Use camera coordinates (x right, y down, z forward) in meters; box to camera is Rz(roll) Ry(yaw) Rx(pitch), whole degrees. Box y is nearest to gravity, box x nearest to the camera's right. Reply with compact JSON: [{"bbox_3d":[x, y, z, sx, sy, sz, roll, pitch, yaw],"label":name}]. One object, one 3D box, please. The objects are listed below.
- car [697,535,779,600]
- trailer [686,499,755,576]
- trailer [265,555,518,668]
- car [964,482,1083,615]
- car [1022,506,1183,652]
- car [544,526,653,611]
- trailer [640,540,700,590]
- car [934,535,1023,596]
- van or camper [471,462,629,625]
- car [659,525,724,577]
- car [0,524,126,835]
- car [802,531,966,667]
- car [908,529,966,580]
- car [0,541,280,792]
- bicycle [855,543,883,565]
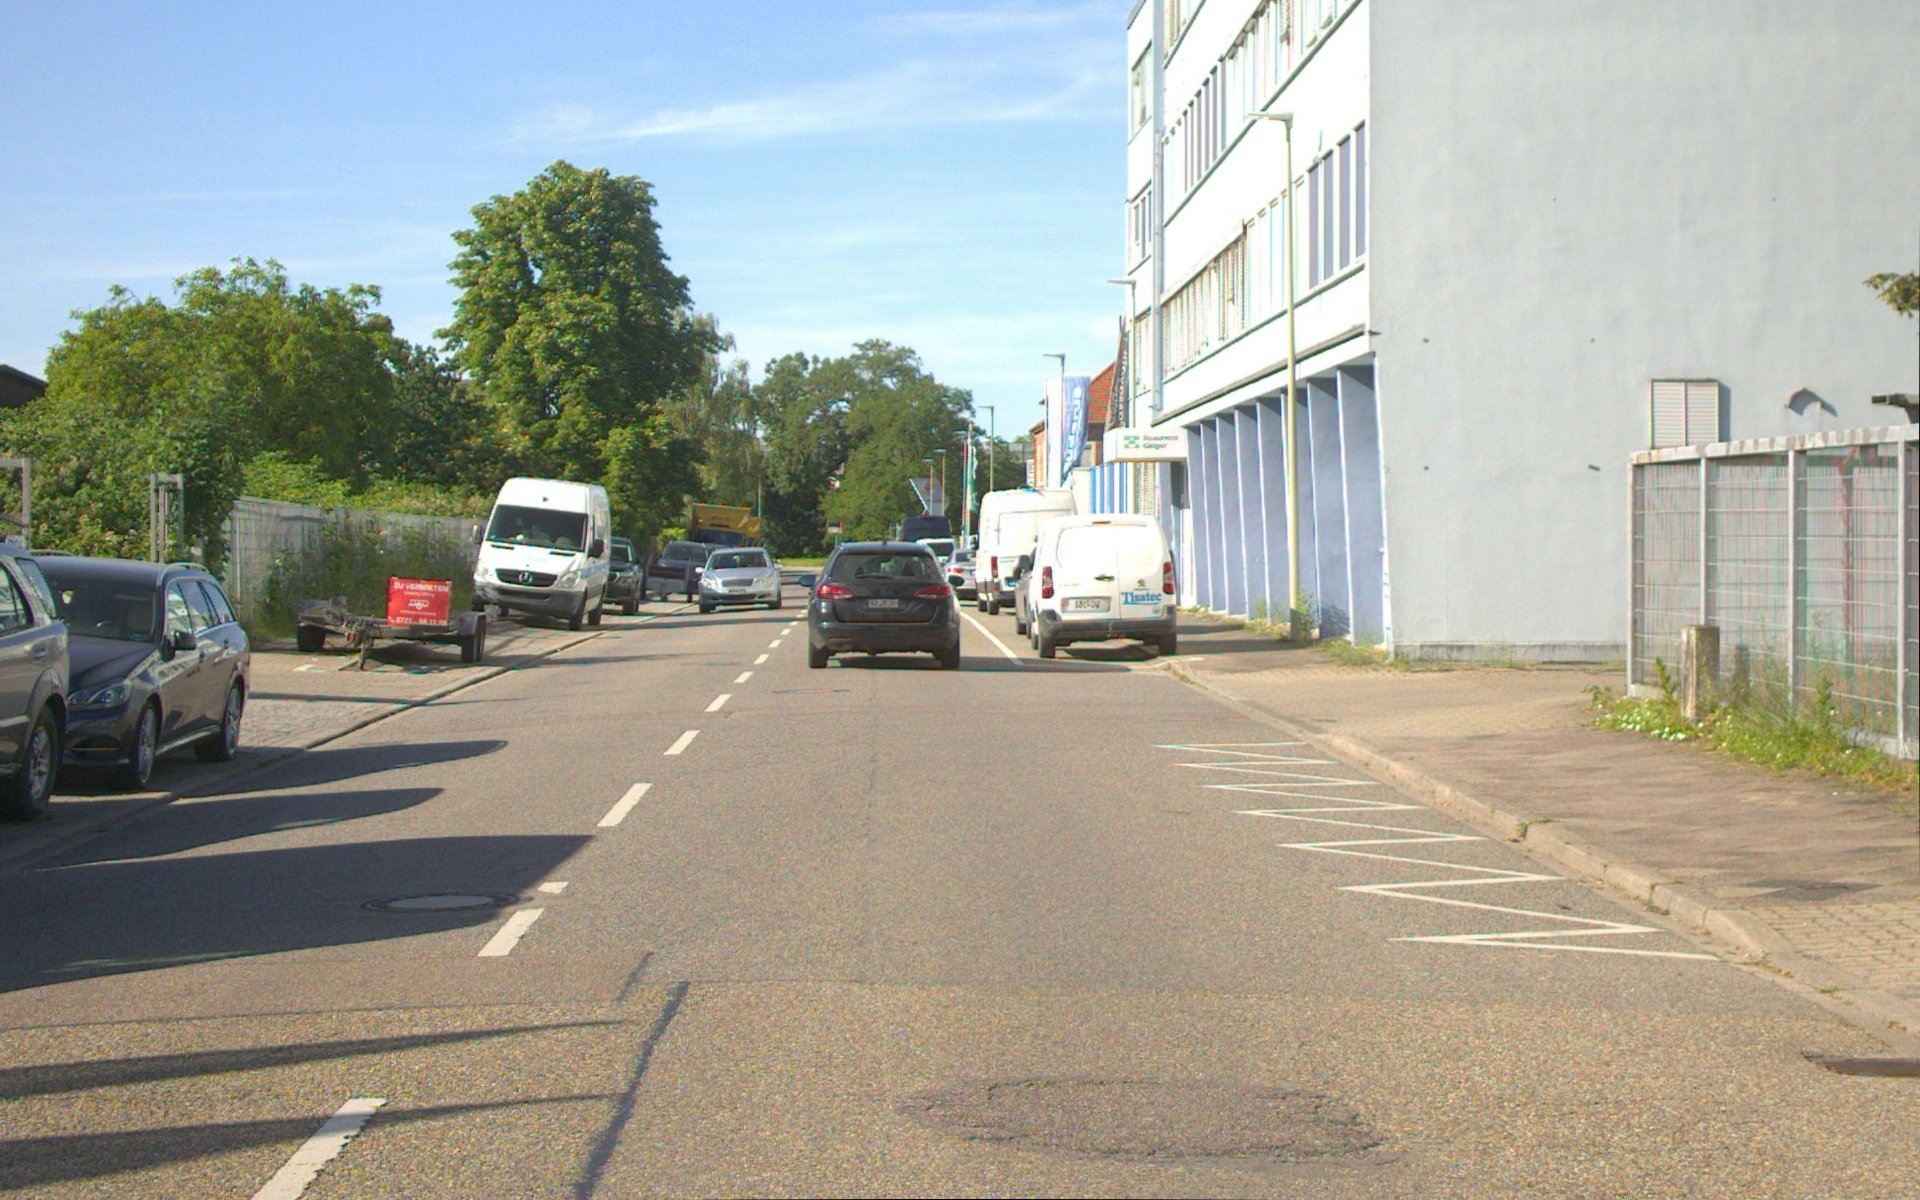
[{"bbox_3d":[-5.088,-0.772,79.252,1.747,1.442,4.361,0,1,-2],"label":"car"},{"bbox_3d":[-10.835,-2.828,156.321,2.991,3.431,8.162,0,1,-3],"label":"trailer"},{"bbox_3d":[-7.191,0.097,44.192,2.376,1.076,6.246,4,2,-2],"label":"trailer"},{"bbox_3d":[1.269,-1.134,71.571,1.993,2.589,6.052,-2,2,-3],"label":"car"},{"bbox_3d":[1.838,-0.311,45.836,1.889,1.826,5.091,0,1,0],"label":"car"},{"bbox_3d":[-7.955,-0.726,76.070,2.030,1.688,5.108,4,1,-3],"label":"car"},{"bbox_3d":[-8.198,-0.986,97.300,1.476,1.349,3.079,2,1,-2],"label":"trailer"},{"bbox_3d":[0.409,-0.831,83.218,1.894,1.400,5.125,2,0,-2],"label":"car"},{"bbox_3d":[-7.427,-1.041,62.812,1.966,2.676,5.948,5,1,0],"label":"van or camper"},{"bbox_3d":[-8.990,-1.658,115.502,1.791,1.725,4.802,0,1,0],"label":"car"},{"bbox_3d":[-6.405,0.412,19.603,1.994,1.732,4.575,4,1,1],"label":"car"},{"bbox_3d":[-0.900,-0.050,40.883,1.847,1.525,4.000,0,1,-1],"label":"car"},{"bbox_3d":[-0.865,-1.677,127.549,1.885,1.791,5.104,2,0,-3],"label":"car"},{"bbox_3d":[-6.316,0.392,24.888,1.799,1.505,5.003,4,1,-1],"label":"car"},{"bbox_3d":[-5.289,-2.655,198.916,0.803,1.263,2.259,1,0,-23],"label":"bicycle"}]
